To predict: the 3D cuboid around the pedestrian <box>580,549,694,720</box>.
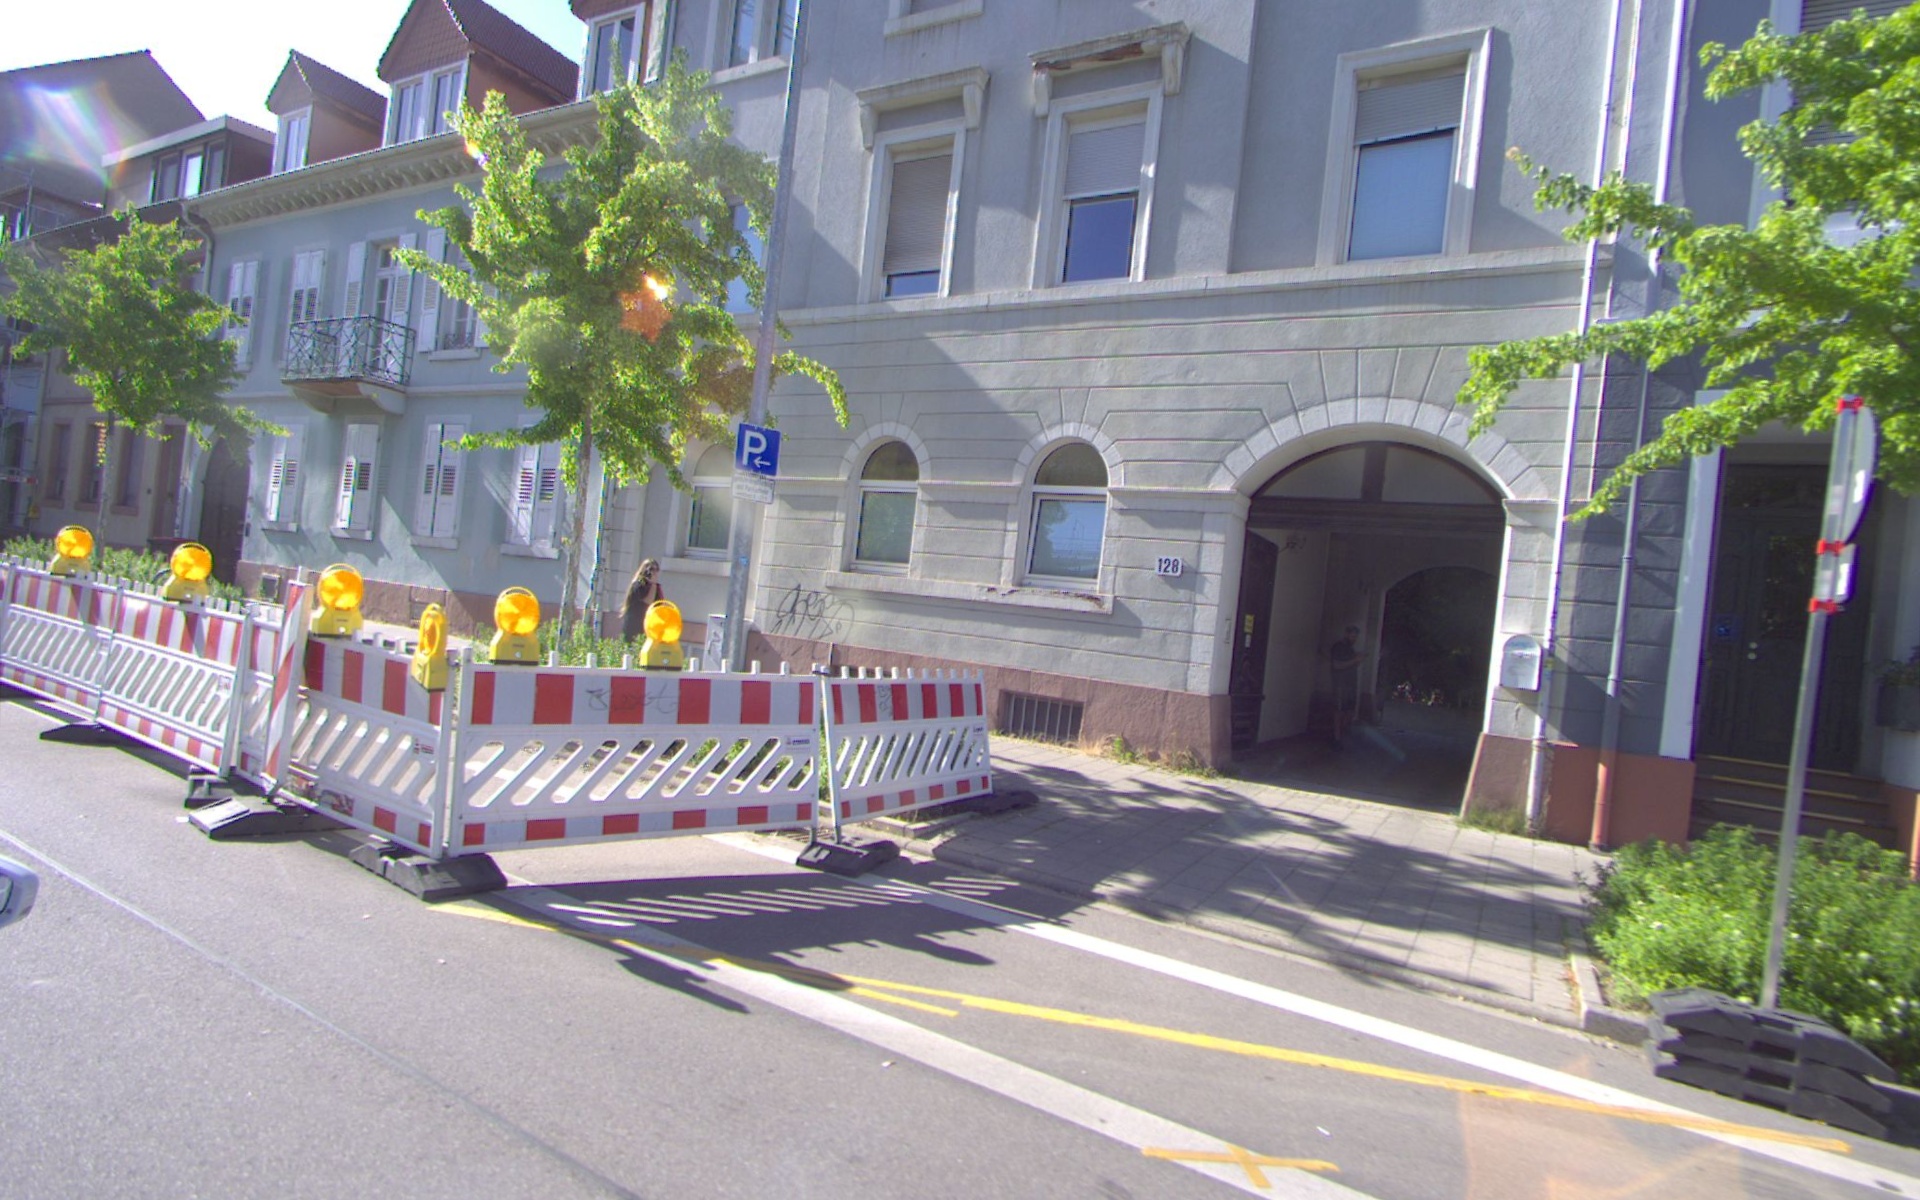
[{"bbox_3d":[-3.907,0.429,12.191,0.758,1.951,0.794,7,-1,33],"label":"pedestrian"}]
